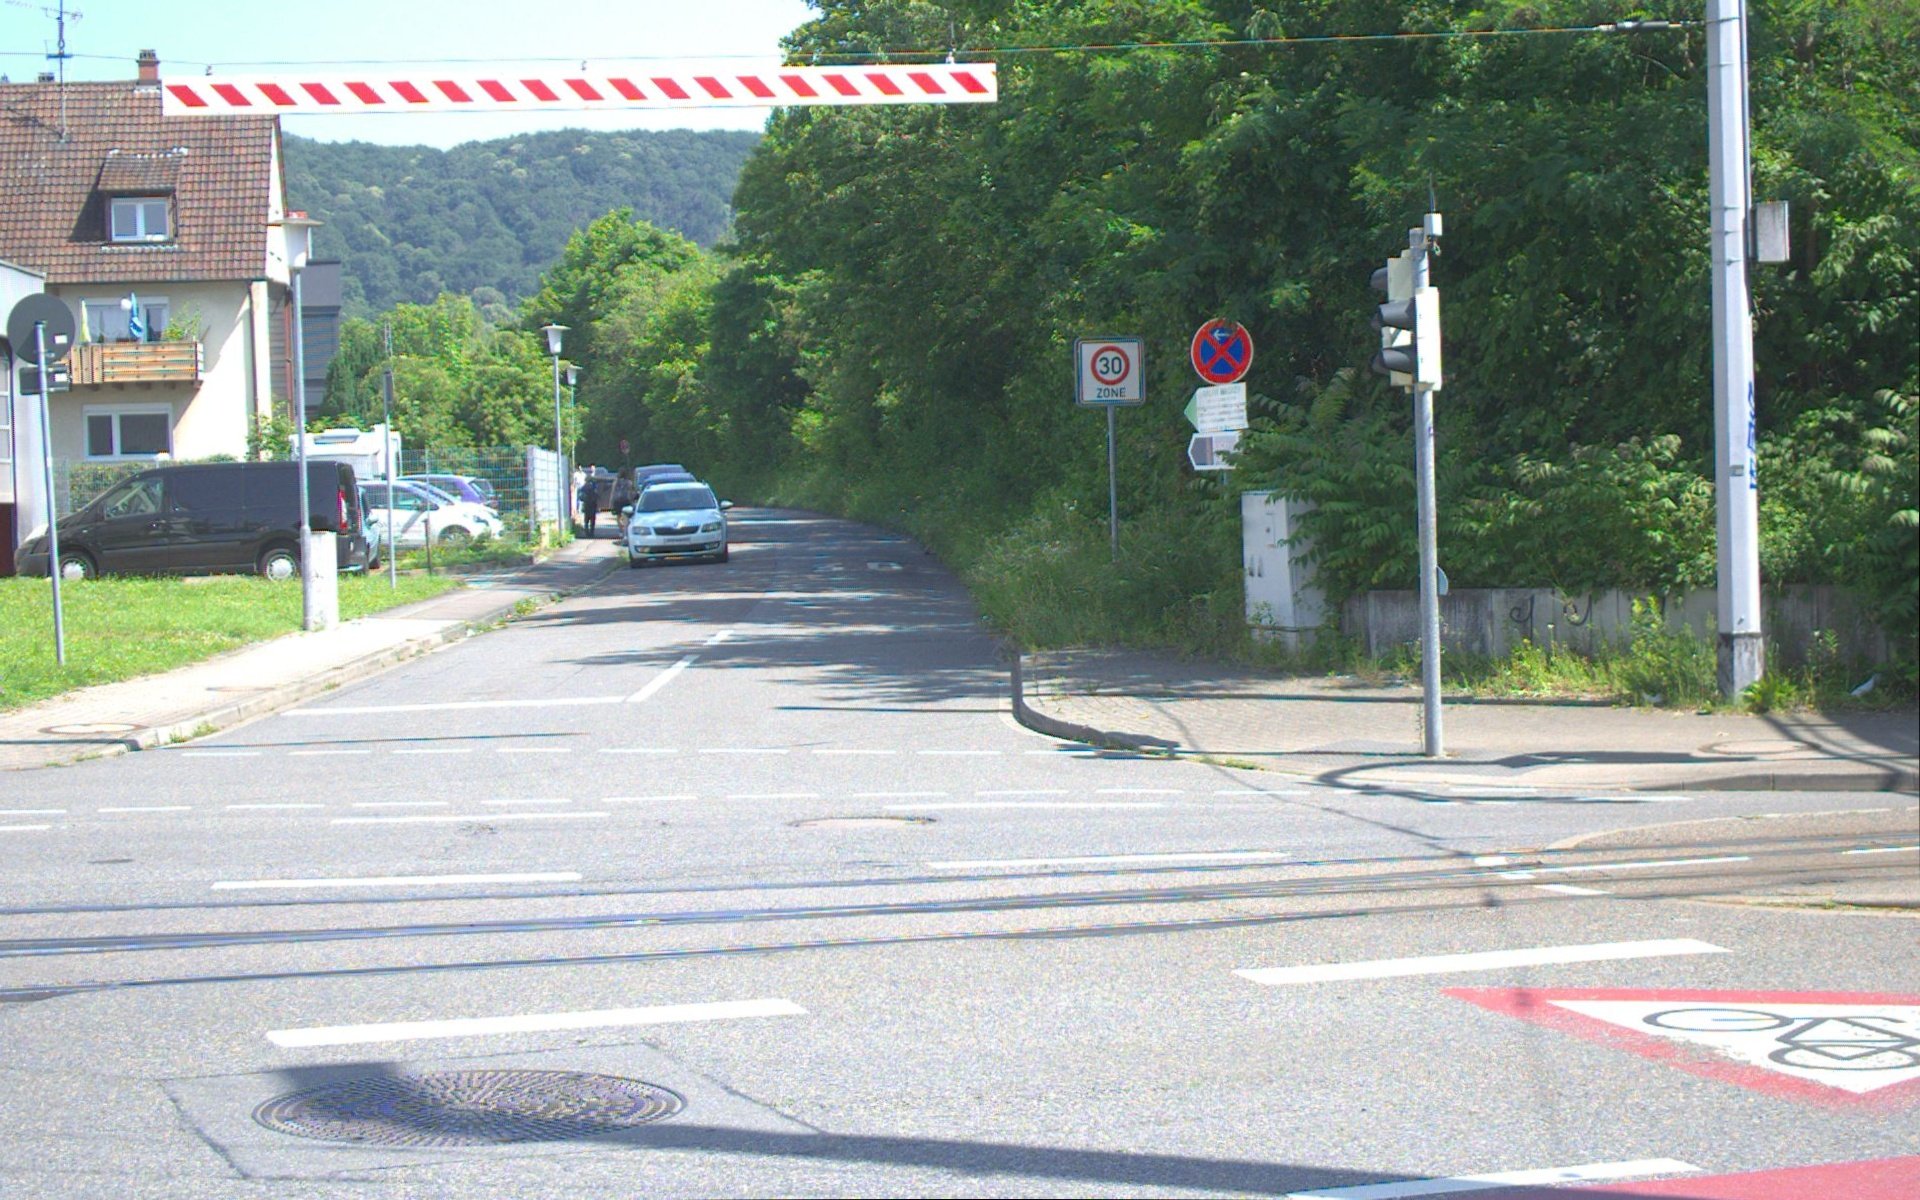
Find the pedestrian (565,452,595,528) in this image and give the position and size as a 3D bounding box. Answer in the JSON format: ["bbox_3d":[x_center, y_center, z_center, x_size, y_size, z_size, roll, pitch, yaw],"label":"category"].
[{"bbox_3d":[-8.882,-2.566,80.355,0.653,1.757,0.804,0,0,-2],"label":"pedestrian"}]

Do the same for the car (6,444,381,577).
[{"bbox_3d":[-11.591,-1.358,52.277,5.247,1.810,2.000,-2,2,-3],"label":"car"}]

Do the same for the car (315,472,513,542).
[{"bbox_3d":[-10.939,-1.867,69.027,3.720,1.367,1.604,0,1,0],"label":"car"}]

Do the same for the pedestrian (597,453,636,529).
[{"bbox_3d":[-8.001,-2.533,80.087,0.876,1.757,0.731,0,0,-2],"label":"pedestrian"}]

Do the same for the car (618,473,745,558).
[{"bbox_3d":[-5.070,-1.574,63.116,2.086,1.505,4.540,0,2,-2],"label":"car"}]

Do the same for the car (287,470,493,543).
[{"bbox_3d":[-10.980,-1.797,66.362,3.720,1.367,1.604,0,0,0],"label":"car"}]
